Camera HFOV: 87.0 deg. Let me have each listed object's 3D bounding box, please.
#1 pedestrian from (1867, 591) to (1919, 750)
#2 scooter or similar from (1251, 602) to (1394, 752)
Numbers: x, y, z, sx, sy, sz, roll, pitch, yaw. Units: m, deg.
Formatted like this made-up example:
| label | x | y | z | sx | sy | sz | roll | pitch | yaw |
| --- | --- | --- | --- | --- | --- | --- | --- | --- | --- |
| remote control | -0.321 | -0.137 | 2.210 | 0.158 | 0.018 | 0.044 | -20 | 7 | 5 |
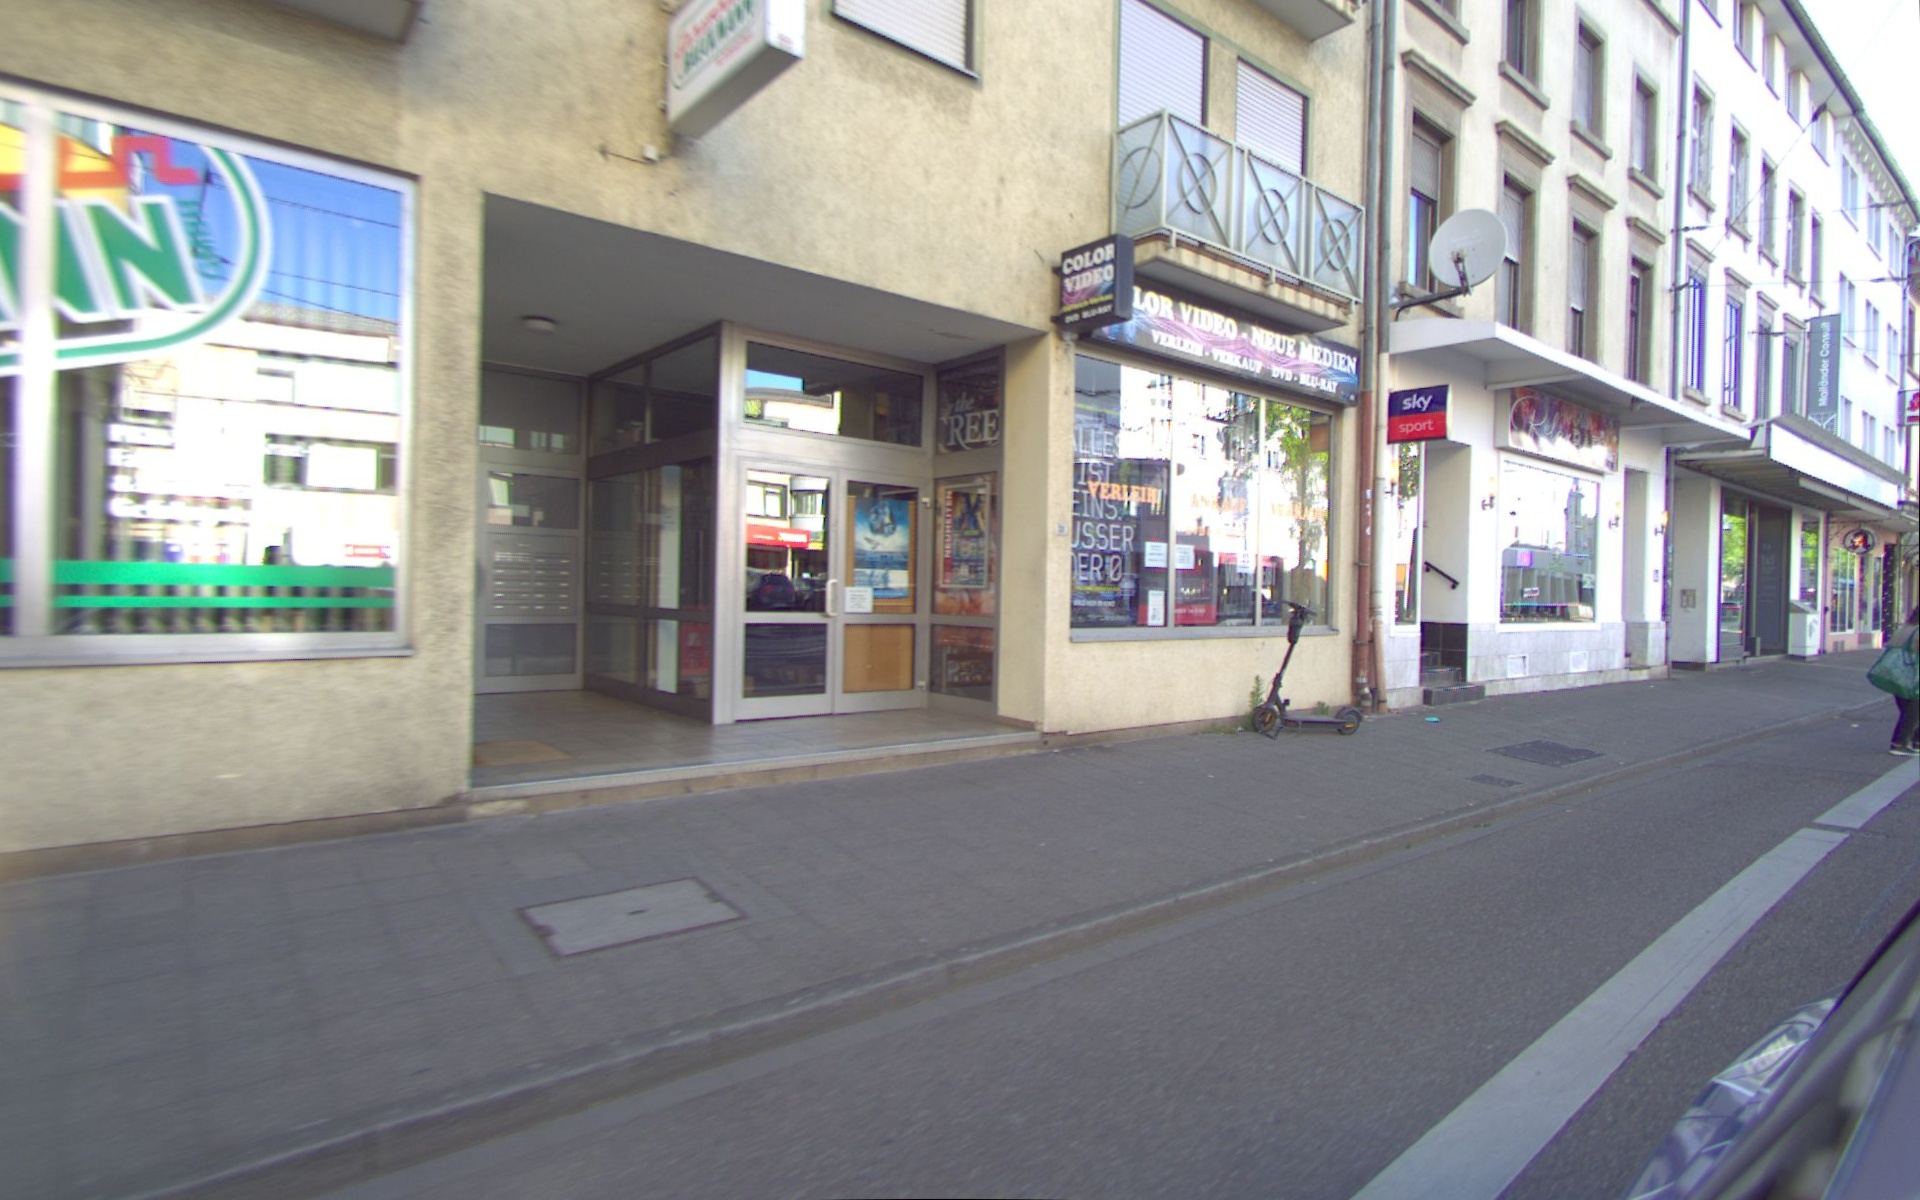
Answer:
| label | x | y | z | sx | sy | sz | roll | pitch | yaw |
| --- | --- | --- | --- | --- | --- | --- | --- | --- | --- |
| pedestrian | 9.864 | 0.712 | 10.324 | 0.638 | 1.580 | 0.781 | 1 | 0 | -37 |
| scooter or similar | 3.311 | 0.675 | 9.226 | 1.257 | 1.297 | 0.412 | 1 | 0 | -23 |
